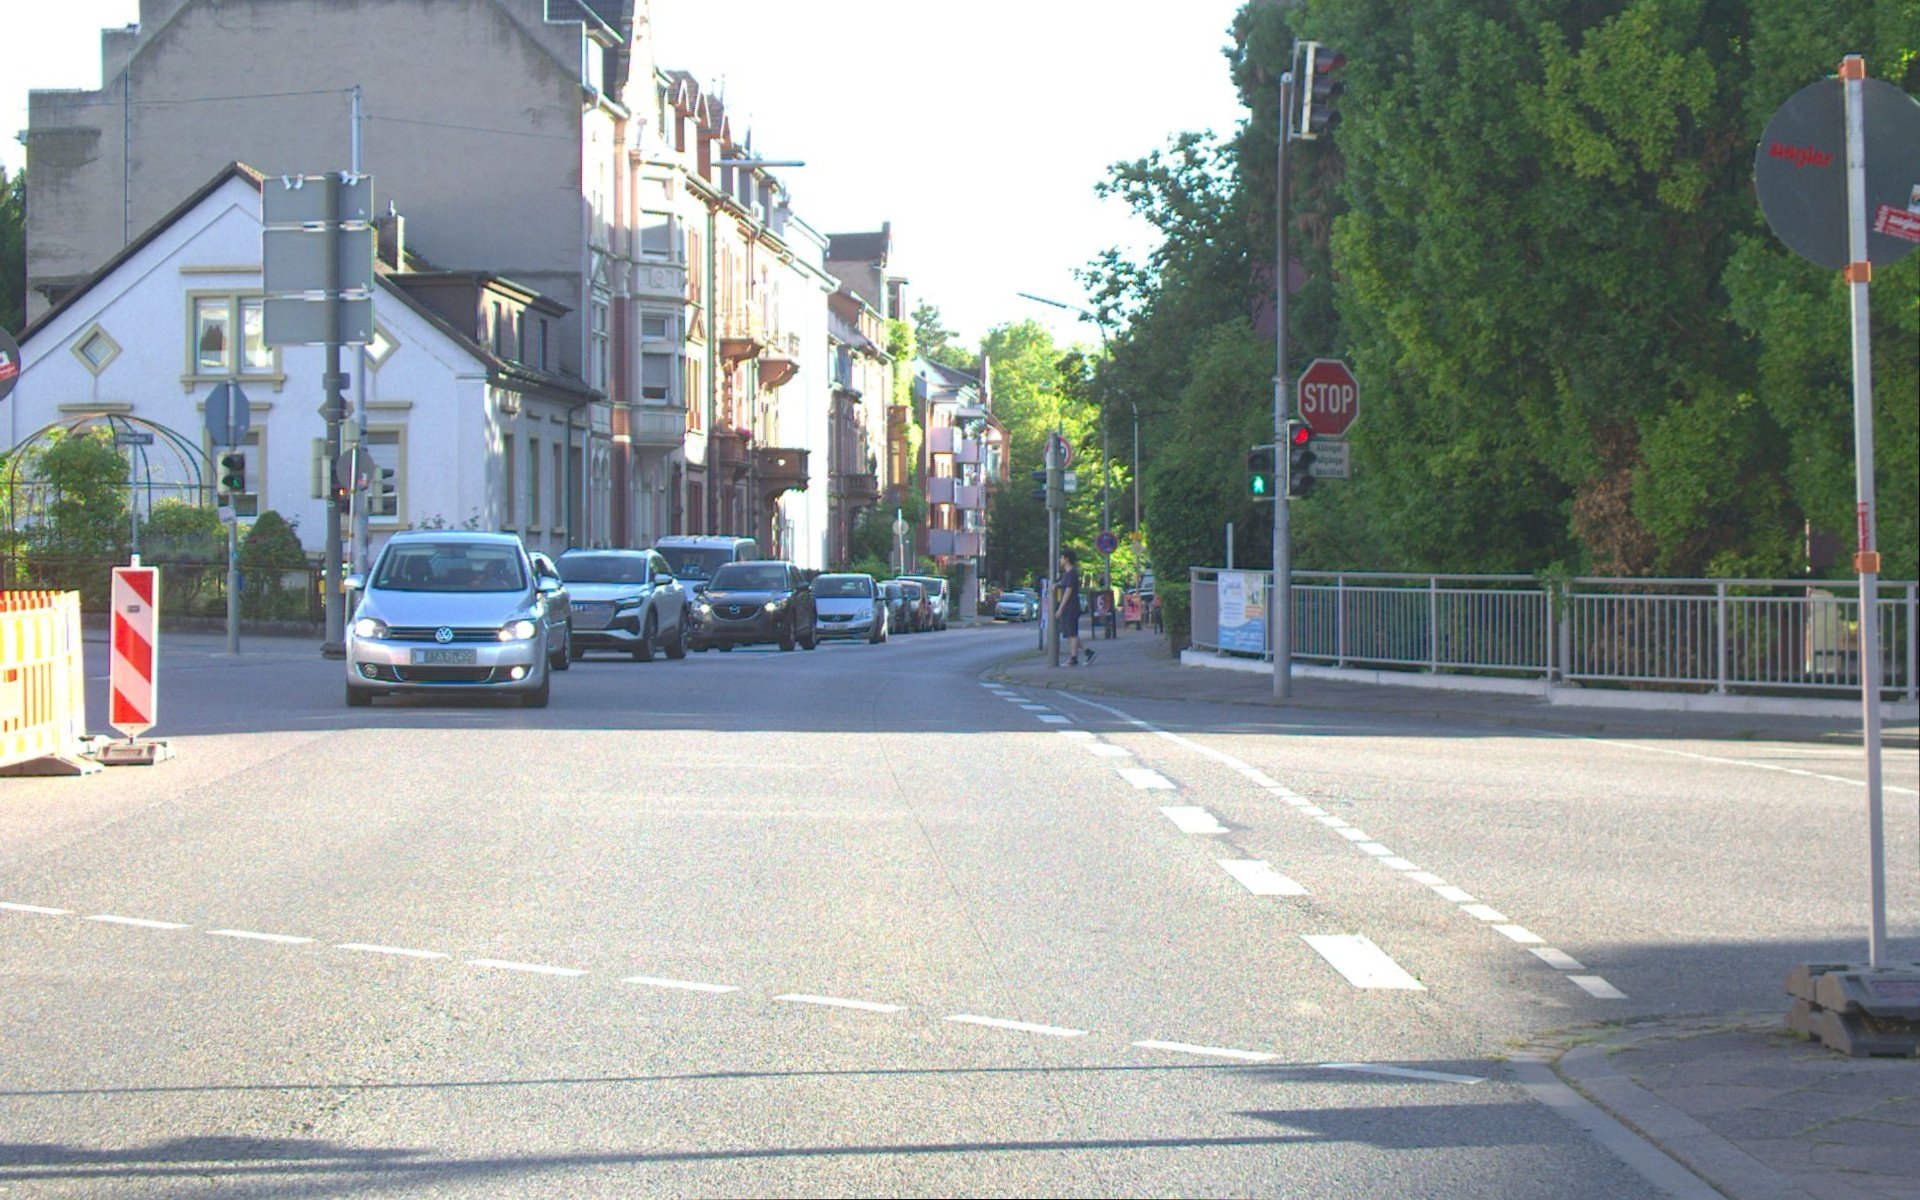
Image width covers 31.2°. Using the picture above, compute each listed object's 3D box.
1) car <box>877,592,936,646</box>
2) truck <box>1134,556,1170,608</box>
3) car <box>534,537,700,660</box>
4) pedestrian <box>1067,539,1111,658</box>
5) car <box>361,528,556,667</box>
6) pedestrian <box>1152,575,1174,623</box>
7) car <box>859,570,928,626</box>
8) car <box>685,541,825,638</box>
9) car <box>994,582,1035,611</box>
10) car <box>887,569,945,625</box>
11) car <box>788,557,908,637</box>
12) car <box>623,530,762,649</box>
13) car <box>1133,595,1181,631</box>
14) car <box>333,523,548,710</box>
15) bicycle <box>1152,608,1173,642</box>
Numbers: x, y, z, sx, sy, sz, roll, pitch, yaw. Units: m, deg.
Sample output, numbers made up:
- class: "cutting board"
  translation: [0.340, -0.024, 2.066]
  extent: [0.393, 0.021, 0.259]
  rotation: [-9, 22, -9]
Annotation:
- class: "car"
  translation: [-1.780, 0.633, 116.089]
  extent: [1.702, 1.732, 3.856]
  rotation: [1, 0, 3]
- class: "truck"
  translation: [10.973, -1.036, 196.235]
  extent: [1.994, 2.887, 4.470]
  rotation: [-1, 1, 4]
- class: "car"
  translation: [-4.940, -0.063, 50.025]
  extent: [1.775, 1.643, 4.534]
  rotation: [1, 1, 2]
- class: "pedestrian"
  translation: [1.852, -0.028, 49.181]
  extent: [0.602, 1.687, 0.612]
  rotation: [-1, 1, 3]
- class: "car"
  translation: [-5.710, -0.069, 39.557]
  extent: [1.775, 1.475, 4.097]
  rotation: [1, 1, -2]
- class: "pedestrian"
  translation: [5.979, -0.038, 101.432]
  extent: [0.598, 1.398, 0.668]
  rotation: [1, 1, 3]
- class: "car"
  translation: [-2.107, -0.081, 110.006]
  extent: [1.703, 1.702, 4.439]
  rotation: [1, 0, 5]
- class: "car"
  translation: [-3.719, -0.221, 62.960]
  extent: [1.954, 1.643, 4.283]
  rotation: [1, 1, 4]
- class: "car"
  translation: [2.990, -0.225, 188.139]
  extent: [1.994, 1.486, 4.470]
  rotation: [0, 1, 4]
- class: "car"
  translation: [-1.611, -0.123, 126.620]
  extent: [1.793, 2.003, 4.697]
  rotation: [1, 0, 3]
- class: "car"
  translation: [-2.465, -0.090, 76.631]
  extent: [1.954, 1.643, 4.282]
  rotation: [2, 1, 8]
- class: "car"
  translation: [-5.826, -0.241, 75.596]
  extent: [2.068, 2.452, 6.013]
  rotation: [1, 0, 5]
- class: "car"
  translation: [8.922, 0.598, 155.171]
  extent: [1.994, 1.512, 3.999]
  rotation: [0, 1, 6]
- class: "car"
  translation: [-4.684, 0.098, 31.208]
  extent: [1.775, 1.537, 4.001]
  rotation: [1, 1, -8]
- class: "bicycle"
  translation: [5.946, 0.731, 100.846]
  extent: [0.566, 0.967, 0.492]
  rotation: [1, 1, 1]
